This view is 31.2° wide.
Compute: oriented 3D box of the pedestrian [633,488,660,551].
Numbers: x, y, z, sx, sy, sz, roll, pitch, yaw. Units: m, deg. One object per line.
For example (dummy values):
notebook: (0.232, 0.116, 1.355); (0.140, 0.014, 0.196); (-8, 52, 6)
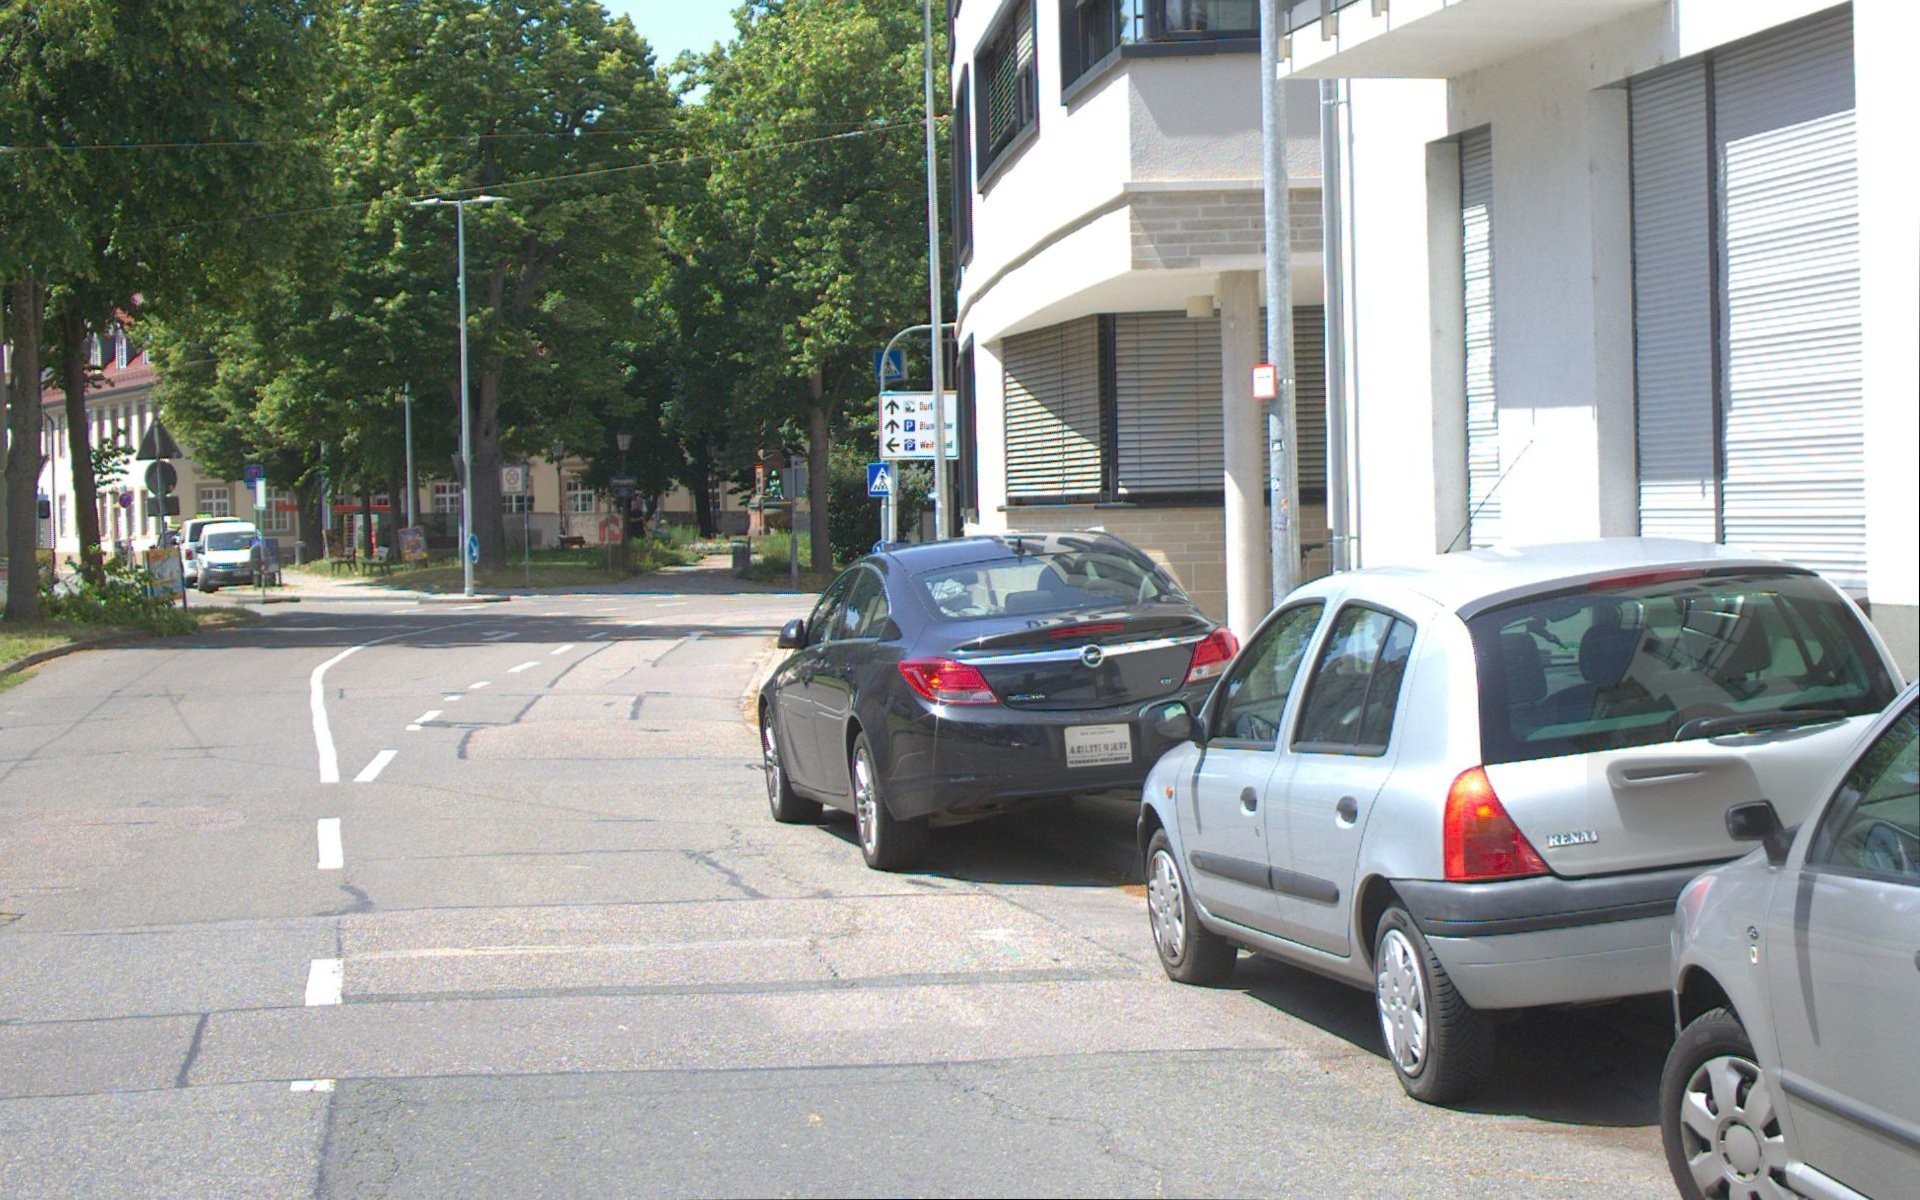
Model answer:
pedestrian: (-9.658, -2.479, 105.876); (0.747, 1.904, 0.684); (0, 3, -1)

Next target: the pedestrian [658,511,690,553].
pedestrian: (-8.801, -2.110, 105.857); (0.906, 1.247, 1.148); (0, 3, -1)

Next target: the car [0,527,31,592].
car: (-23.537, -0.988, 82.996); (1.903, 1.528, 4.245); (0, 1, -18)

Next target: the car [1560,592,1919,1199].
car: (2.490, 0.726, 5.732); (1.726, 1.428, 4.043); (-5, 2, -7)

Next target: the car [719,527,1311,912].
car: (0.098, 0.486, 17.060); (1.799, 1.504, 4.549); (-5, 2, -13)

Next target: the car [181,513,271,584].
car: (-19.601, -1.405, 91.686); (1.993, 1.820, 4.424); (-1, 2, -16)

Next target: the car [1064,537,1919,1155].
car: (1.563, 0.594, 10.606); (1.592, 1.428, 3.708); (-5, 2, -11)

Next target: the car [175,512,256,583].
car: (-21.643, -1.544, 99.790); (2.048, 1.995, 5.251); (-1, 2, -15)

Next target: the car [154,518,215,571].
car: (-25.712, -1.863, 113.882); (1.782, 1.687, 4.202); (-1, 2, -15)

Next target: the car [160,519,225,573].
car: (-23.919, -1.689, 107.040); (1.782, 1.618, 4.487); (-1, 2, -15)
